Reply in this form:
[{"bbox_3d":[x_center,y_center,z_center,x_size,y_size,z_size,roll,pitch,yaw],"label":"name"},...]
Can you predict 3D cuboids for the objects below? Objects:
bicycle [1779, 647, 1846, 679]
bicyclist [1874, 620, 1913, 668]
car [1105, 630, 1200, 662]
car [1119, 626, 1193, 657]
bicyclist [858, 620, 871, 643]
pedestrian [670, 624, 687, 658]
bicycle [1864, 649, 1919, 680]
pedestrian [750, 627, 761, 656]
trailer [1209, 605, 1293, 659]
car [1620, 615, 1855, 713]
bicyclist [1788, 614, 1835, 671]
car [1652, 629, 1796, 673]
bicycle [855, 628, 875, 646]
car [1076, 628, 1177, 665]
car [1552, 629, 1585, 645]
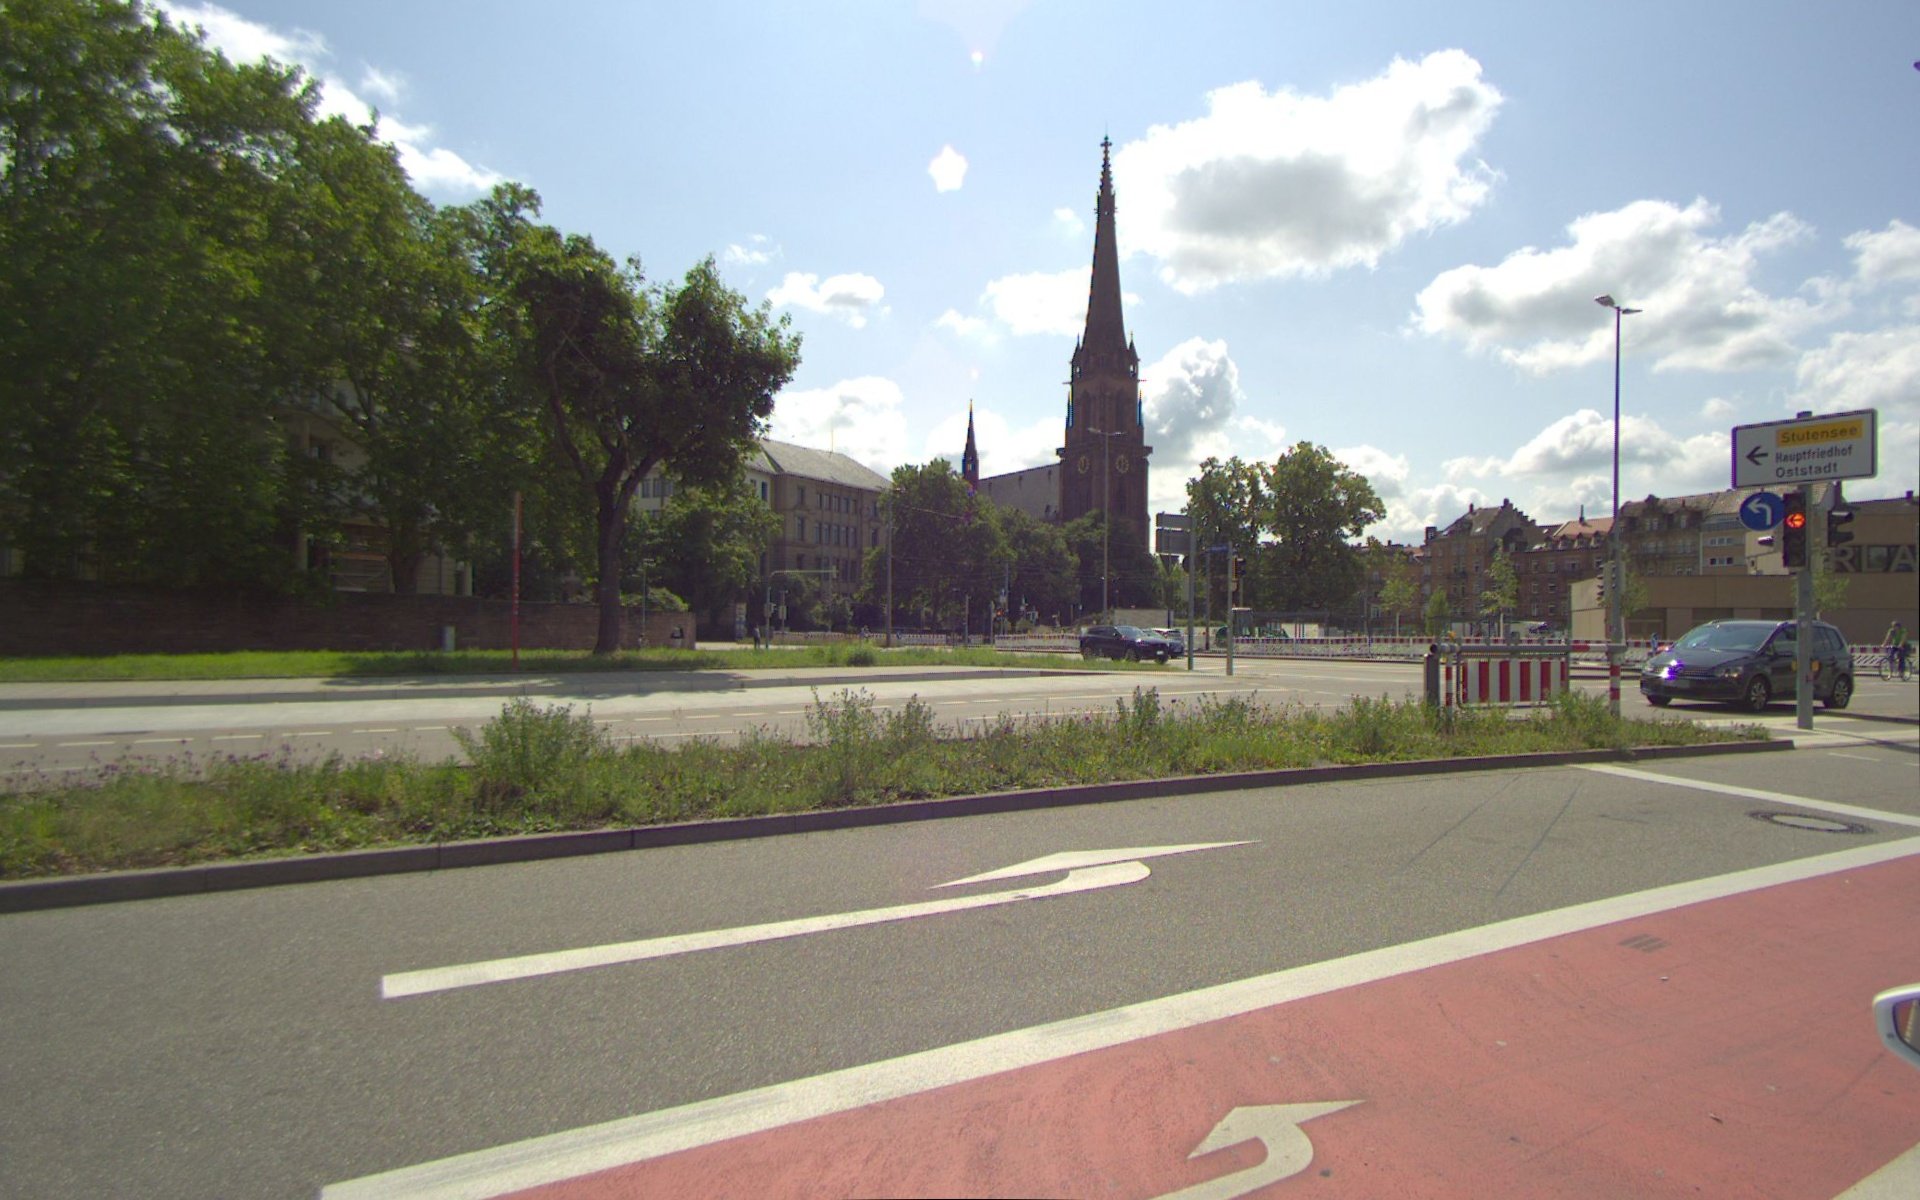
[{"bbox_3d":[24.797,1.818,29.212,2.082,0.901,0.773,1,-2,-28],"label":"bicycle"},{"bbox_3d":[28.846,1.361,31.055,0.824,1.481,0.564,1,-1,-20],"label":"bicyclist"},{"bbox_3d":[9.532,2.251,50.109,1.980,1.505,4.624,2,-2,-35],"label":"car"},{"bbox_3d":[11.014,2.343,56.757,1.976,1.528,3.986,2,-1,-29],"label":"car"},{"bbox_3d":[-6.782,2.223,71.359,0.659,1.553,0.642,2,0,-28],"label":"bicyclist"},{"bbox_3d":[-14.528,2.120,51.820,0.479,1.718,0.679,2,0,21],"label":"pedestrian"},{"bbox_3d":[28.802,1.984,31.025,1.717,0.901,0.566,1,-1,-20],"label":"bicycle"},{"bbox_3d":[-13.459,2.730,66.108,0.561,1.844,0.436,2,0,42],"label":"pedestrian"},{"bbox_3d":[16.863,1.825,58.346,4.278,2.952,2.001,2,0,6],"label":"trailer"},{"bbox_3d":[14.614,1.144,18.881,4.100,1.645,1.875,1,0,-26],"label":"car"},{"bbox_3d":[24.755,1.223,29.199,0.832,1.640,0.773,1,-1,-28],"label":"bicyclist"},{"bbox_3d":[27.657,1.818,36.522,3.833,1.505,1.998,0,-2,27],"label":"car"},{"bbox_3d":[-6.762,2.615,71.279,0.659,1.161,2.053,2,-1,-28],"label":"bicycle"},{"bbox_3d":[7.240,2.016,44.075,1.977,1.505,4.474,1,-2,-31],"label":"car"},{"bbox_3d":[96.834,5.906,159.903,1.972,2.374,4.096,2,-1,-24],"label":"car"}]
